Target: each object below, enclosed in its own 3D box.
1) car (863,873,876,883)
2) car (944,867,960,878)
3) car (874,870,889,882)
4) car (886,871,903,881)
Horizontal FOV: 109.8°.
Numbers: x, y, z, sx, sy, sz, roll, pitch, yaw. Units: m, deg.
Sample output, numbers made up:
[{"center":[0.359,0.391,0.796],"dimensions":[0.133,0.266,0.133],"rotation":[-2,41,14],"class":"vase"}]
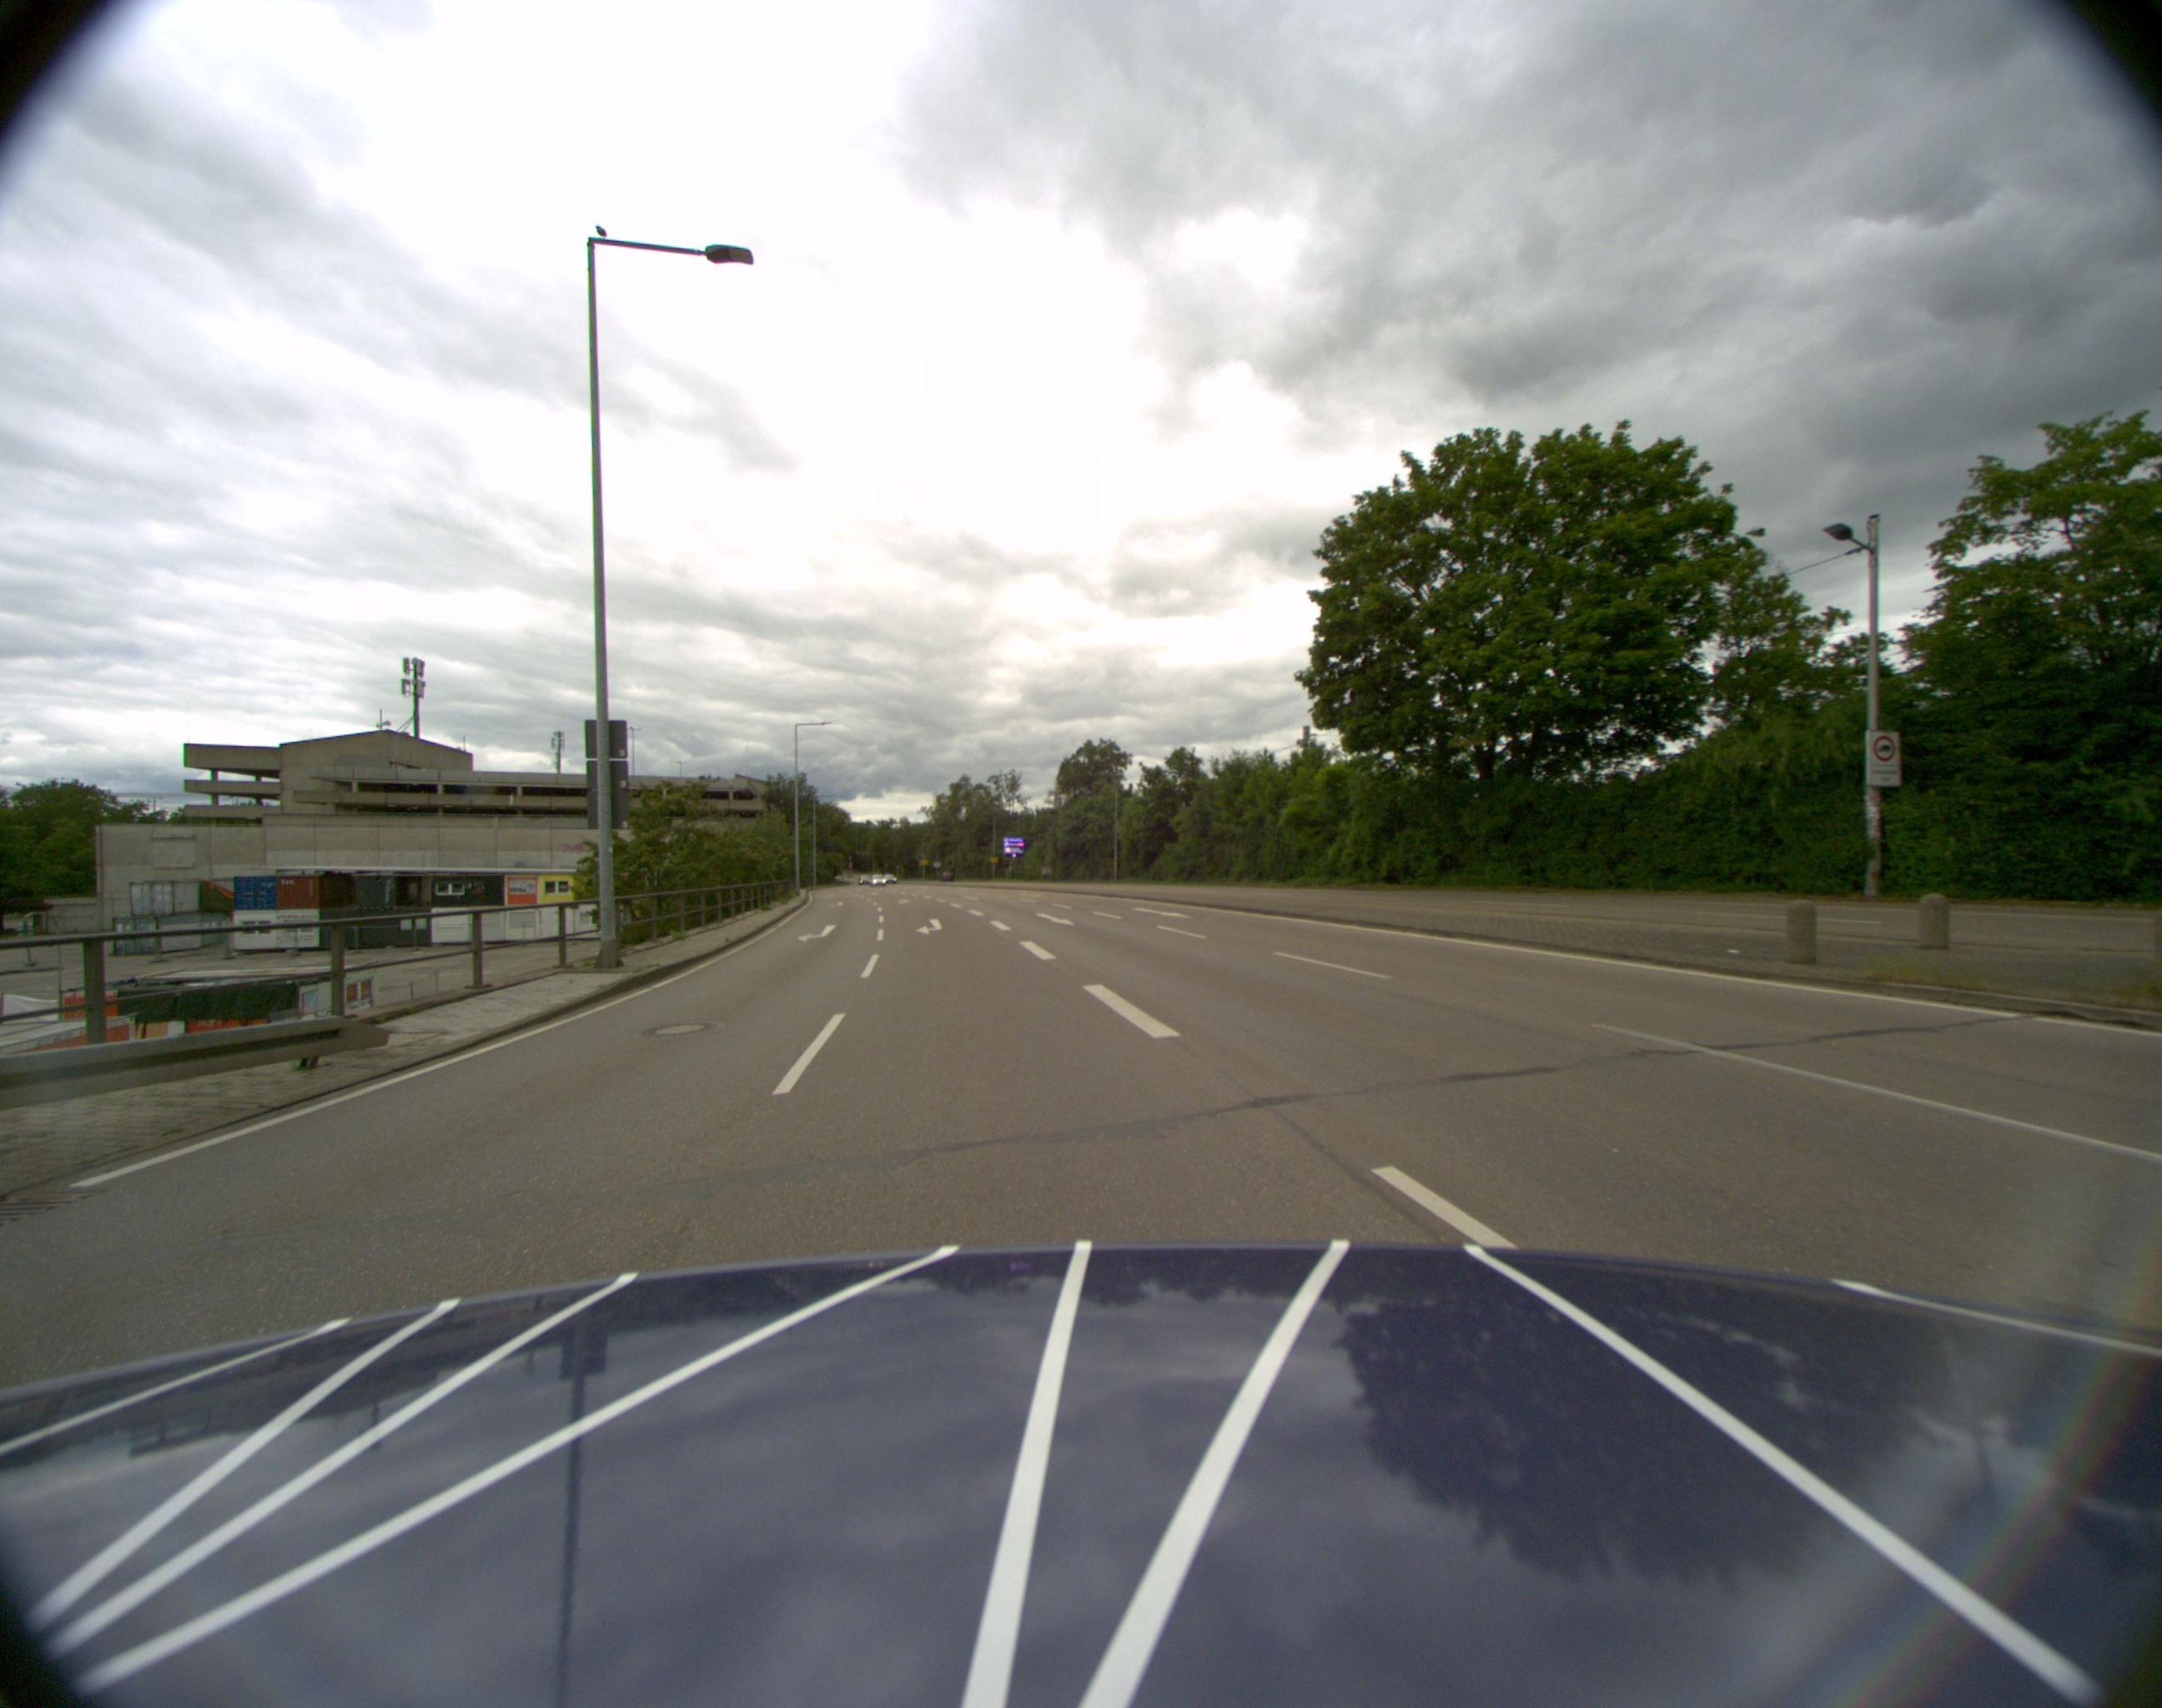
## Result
[{"center":[-33.023,3.670,118.588],"dimensions":[1.867,1.408,4.333],"rotation":[-2,0,-16],"class":"car"},{"center":[-19.173,2.728,112.849],"dimensions":[1.705,1.455,3.994],"rotation":[-3,0,-19],"class":"car"},{"center":[-24.365,2.700,92.656],"dimensions":[1.611,1.408,3.586],"rotation":[-2,0,-18],"class":"car"},{"center":[-27.629,3.272,112.519],"dimensions":[1.845,1.408,4.572],"rotation":[-2,0,-21],"class":"car"}]
